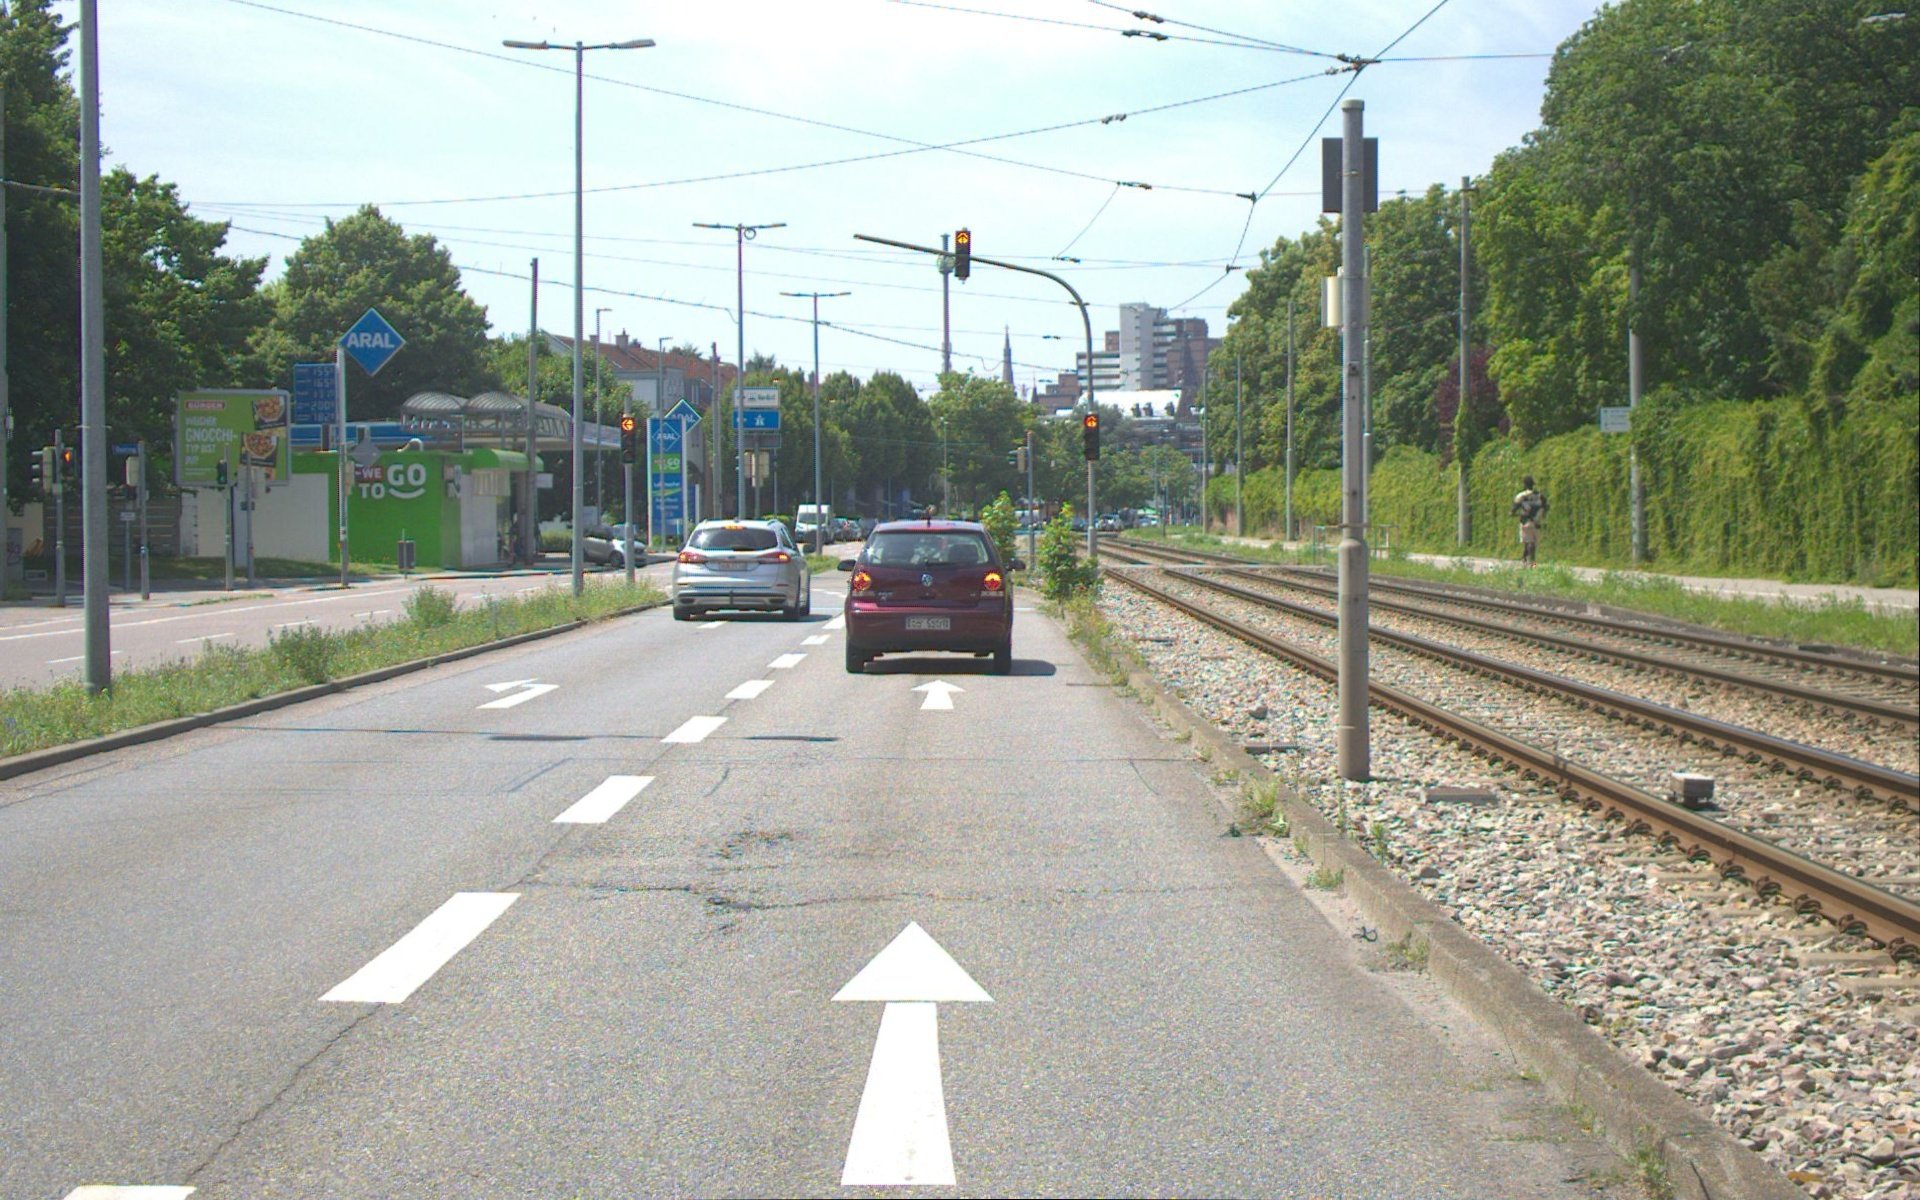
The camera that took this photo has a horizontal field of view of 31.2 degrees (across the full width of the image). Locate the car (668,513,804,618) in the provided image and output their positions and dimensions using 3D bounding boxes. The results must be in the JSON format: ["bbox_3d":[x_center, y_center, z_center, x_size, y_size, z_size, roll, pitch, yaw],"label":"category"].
[{"bbox_3d":[-3.269,-0.517,50.705,1.703,1.475,3.716,1,1,1],"label":"car"}]

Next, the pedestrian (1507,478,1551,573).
[{"bbox_3d":[10.486,-1.377,63.344,0.661,1.720,0.816,-1,1,-1],"label":"pedestrian"}]

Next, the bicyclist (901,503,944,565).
[{"bbox_3d":[-0.975,-1.711,89.267,0.944,1.588,1.088,1,0,-9],"label":"bicyclist"}]

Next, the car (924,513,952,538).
[{"bbox_3d":[-1.622,-5.490,252.320,1.993,1.744,4.000,1,0,-1],"label":"car"}]

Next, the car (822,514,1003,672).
[{"bbox_3d":[-0.492,-0.109,34.260,1.702,1.472,3.717,0,1,-1],"label":"car"}]

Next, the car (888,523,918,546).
[{"bbox_3d":[-3.662,-4.193,220.754,1.737,1.413,4.000,-1,1,1],"label":"car"}]

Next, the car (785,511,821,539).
[{"bbox_3d":[-9.554,-4.535,208.849,1.993,1.590,4.001,1,0,-5],"label":"car"}]
